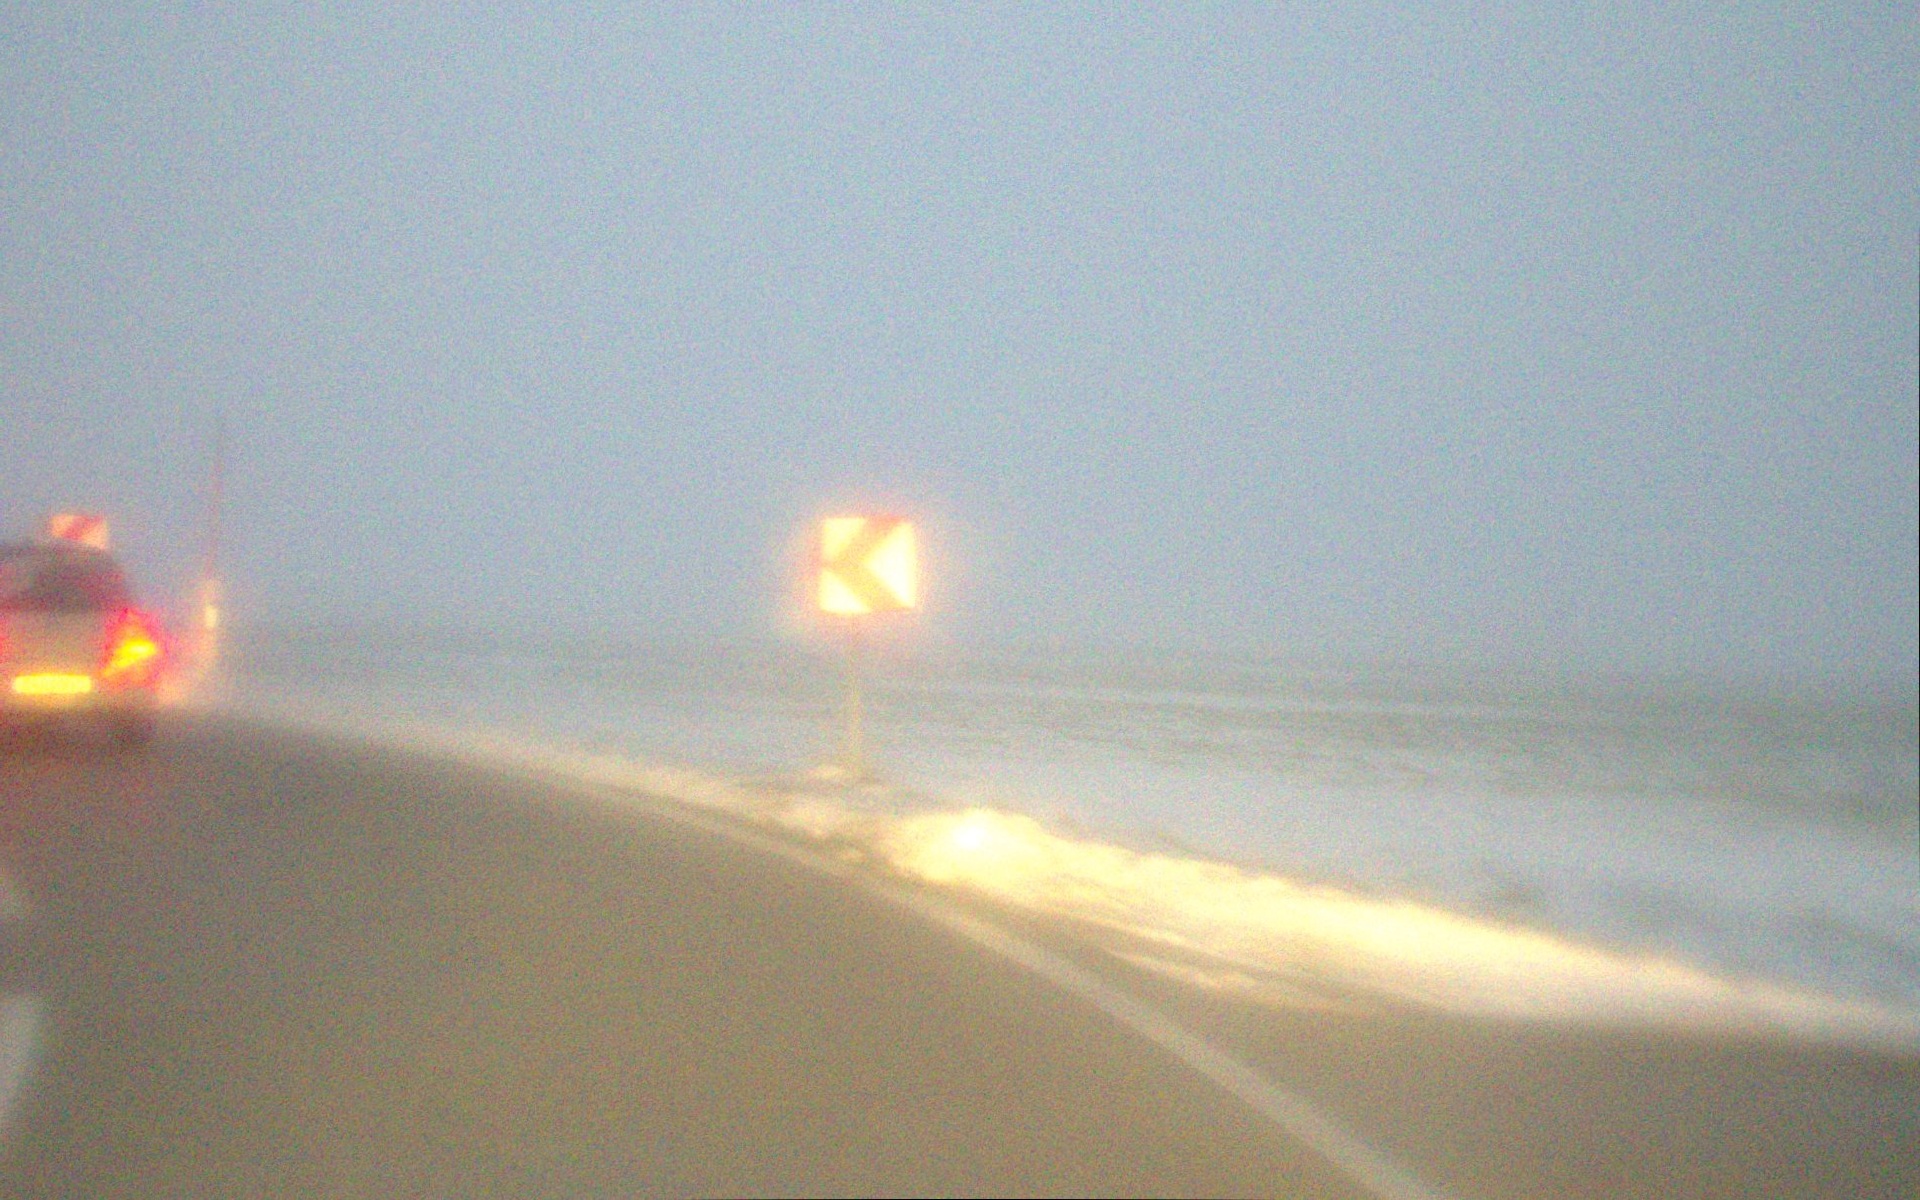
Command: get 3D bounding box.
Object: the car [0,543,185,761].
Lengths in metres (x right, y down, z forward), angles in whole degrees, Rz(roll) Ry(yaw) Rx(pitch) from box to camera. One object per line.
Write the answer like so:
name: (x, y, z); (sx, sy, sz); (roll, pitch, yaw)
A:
car: (-6.534, 0.306, 23.758); (1.945, 1.376, 4.001); (-1, 1, -18)
